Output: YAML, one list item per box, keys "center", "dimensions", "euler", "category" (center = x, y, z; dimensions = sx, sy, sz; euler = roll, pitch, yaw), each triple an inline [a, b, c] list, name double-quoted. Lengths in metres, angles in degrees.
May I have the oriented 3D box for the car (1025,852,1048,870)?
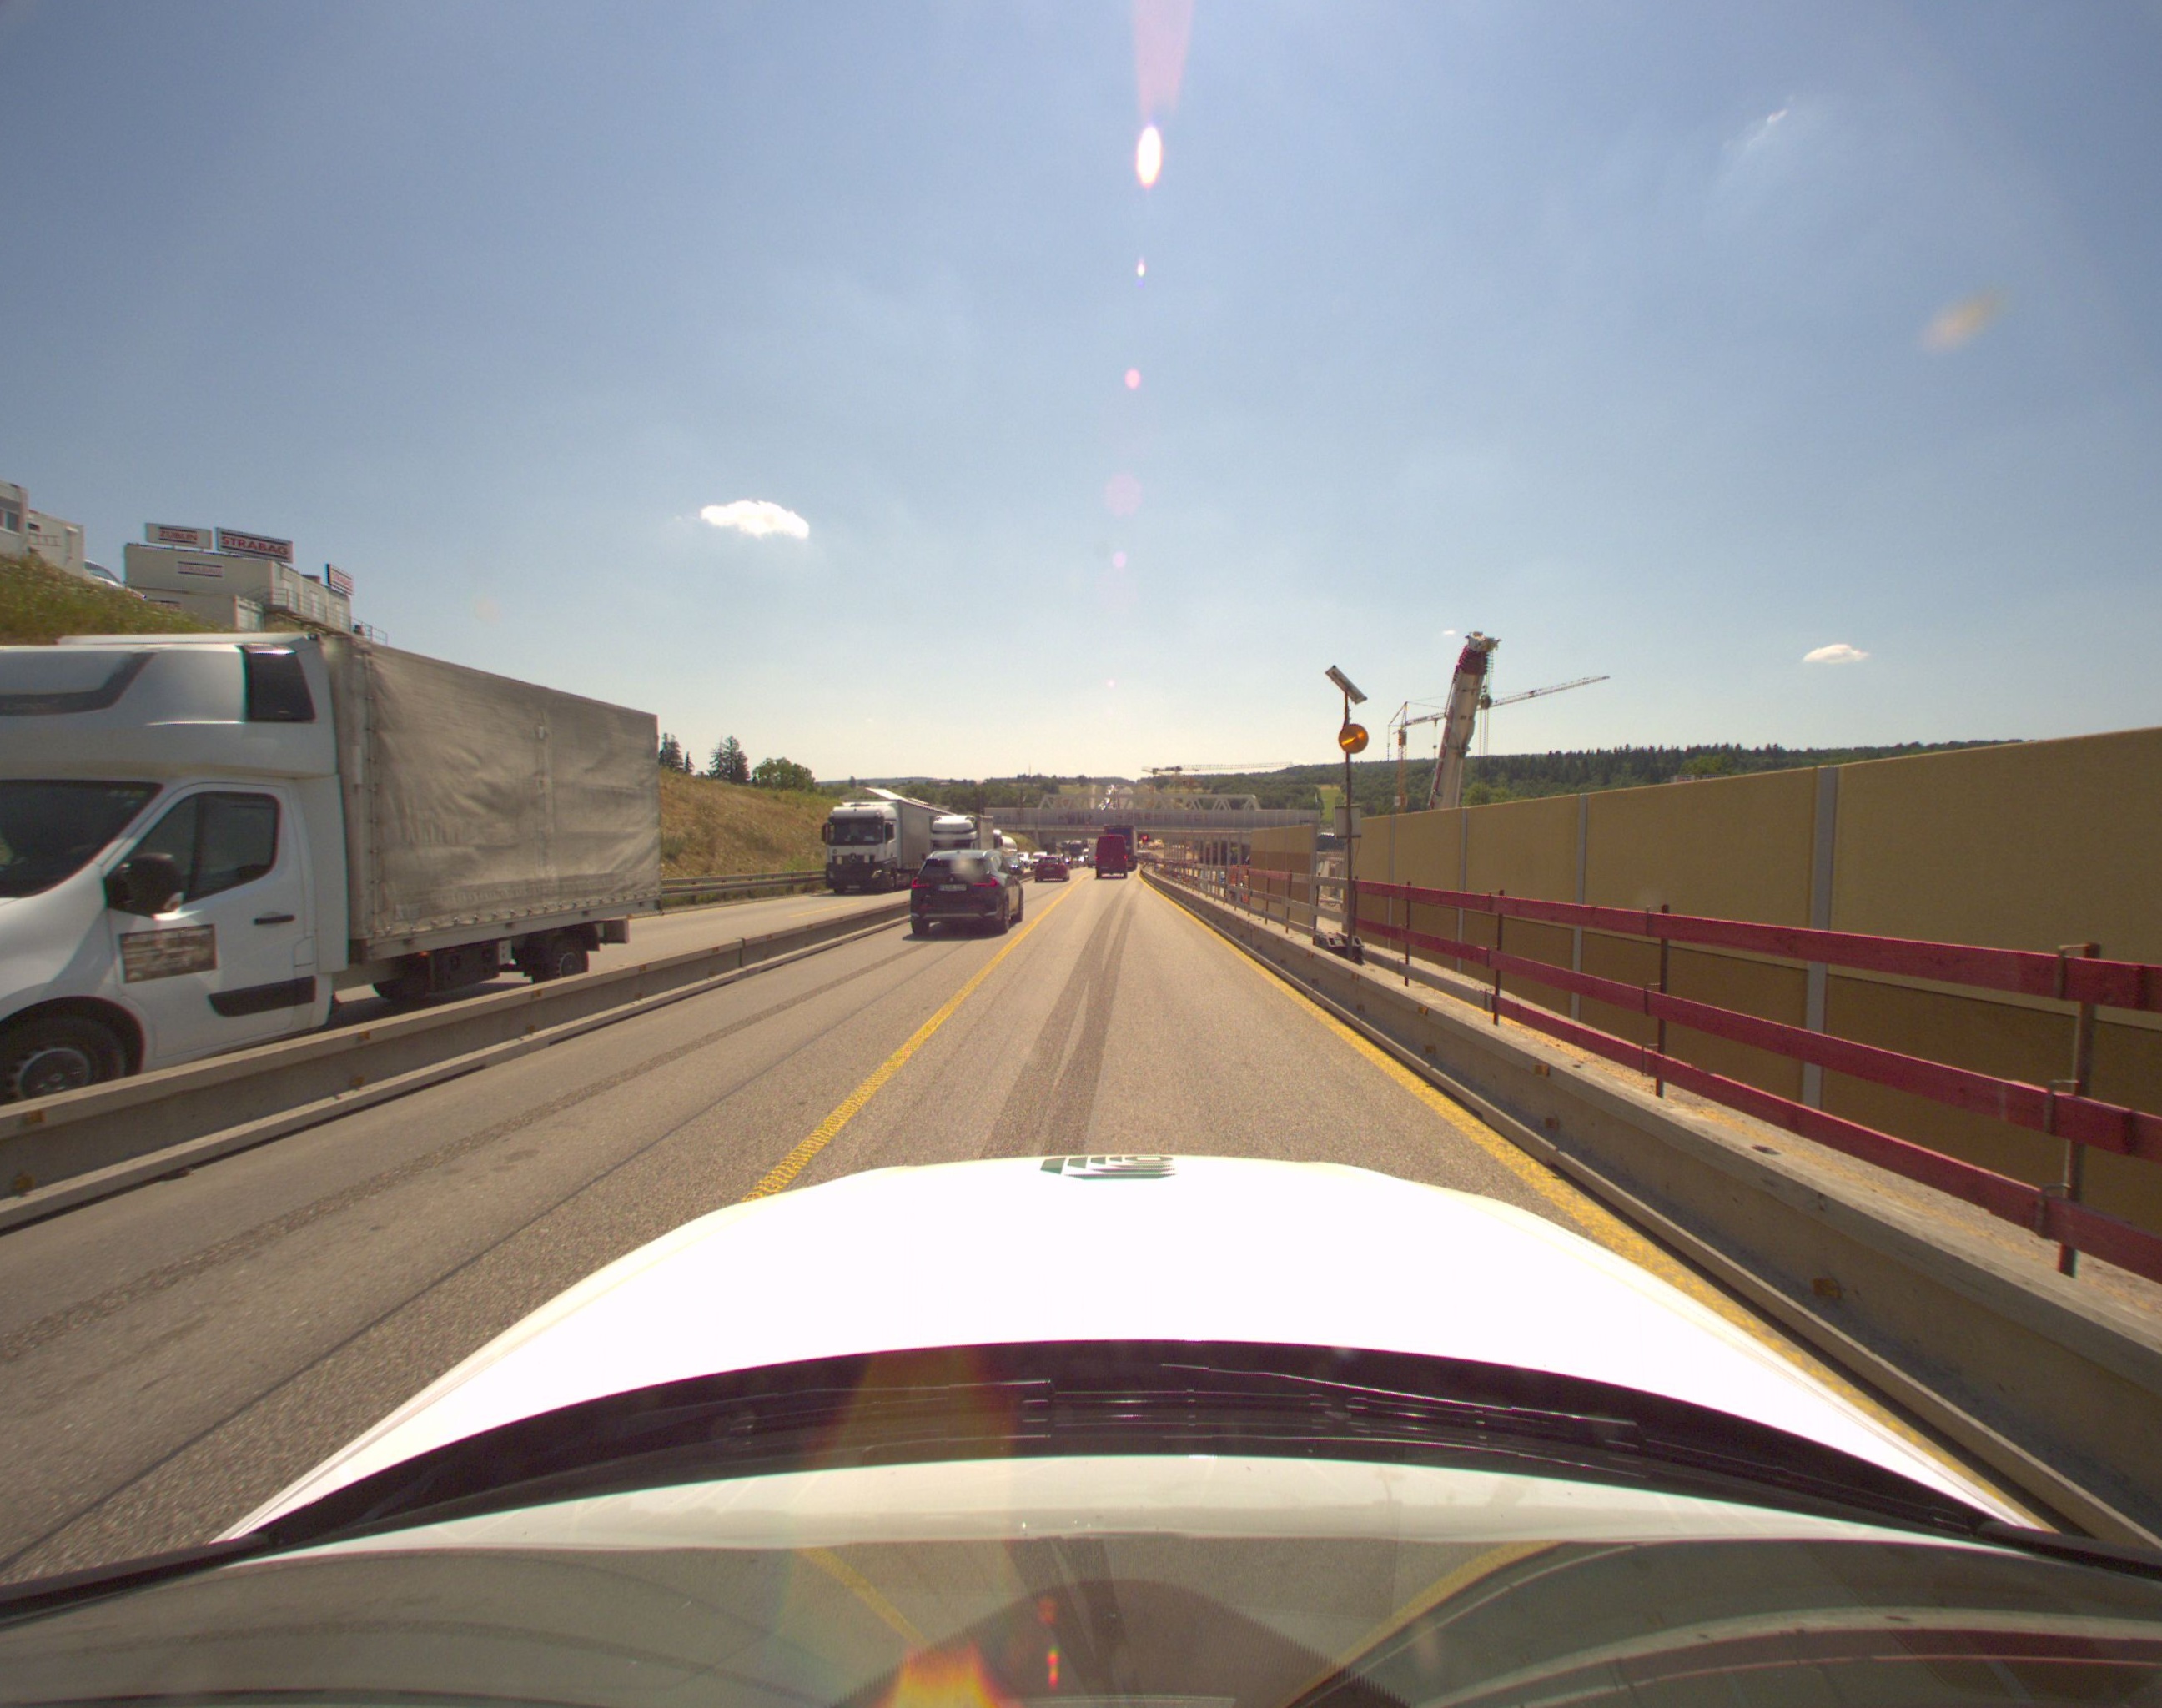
- center: [-4.596, 0.684, 84.284]
  dimensions: [1.872, 1.745, 4.485]
  euler: [-1, 0, 2]
  category: "car"

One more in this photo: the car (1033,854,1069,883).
- center: [-1.639, 0.754, 45.960]
  dimensions: [1.769, 1.517, 4.207]
  euler: [-1, 0, 1]
  category: "car"

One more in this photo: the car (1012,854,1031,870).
- center: [-6.908, 0.961, 94.979]
  dimensions: [1.784, 1.763, 4.538]
  euler: [-1, 0, 1]
  category: "car"

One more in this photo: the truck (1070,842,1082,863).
- center: [-0.993, -0.296, 162.032]
  dimensions: [2.350, 4.015, 4.000]
  euler: [0, 0, 0]
  category: "truck"

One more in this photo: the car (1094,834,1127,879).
- center: [1.873, 0.114, 51.593]
  dimensions: [1.981, 2.690, 4.625]
  euler: [-1, 0, 2]
  category: "car"

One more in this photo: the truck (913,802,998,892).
- center: [-5.627, -0.288, 37.722]
  dimensions: [2.580, 3.758, 7.361]
  euler: [0, 0, 1]
  category: "truck"

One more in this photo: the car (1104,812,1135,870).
- center: [3.518, -1.163, 76.758]
  dimensions: [2.611, 5.032, 10.401]
  euler: [-1, 0, 2]
  category: "car"

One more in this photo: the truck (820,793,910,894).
- center: [-9.041, -0.433, 34.499]
  dimensions: [2.688, 4.050, 3.956]
  euler: [0, 0, 1]
  category: "truck"

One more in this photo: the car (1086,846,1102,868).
- center: [1.476, 0.355, 93.384]
  dimensions: [1.769, 2.441, 4.208]
  euler: [-1, 0, 2]
  category: "car"

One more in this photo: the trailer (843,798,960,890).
- center: [-8.847, -0.462, 42.301]
  dimensions: [2.688, 4.024, 13.706]
  euler: [0, 0, 1]
  category: "trailer"

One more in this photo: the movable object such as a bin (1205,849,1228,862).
- center: [31.144, 0.336, 186.944]
  dimensions: [5.118, 2.807, 2.147]
  euler: [0, 0, 7]
  category: "movable object such as a bin"

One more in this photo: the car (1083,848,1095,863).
- center: [1.520, 0.284, 146.830]
  dimensions: [1.986, 2.607, 7.014]
  euler: [0, 0, 2]
  category: "car"

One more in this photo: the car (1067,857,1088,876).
- center: [-0.277, 1.115, 73.909]
  dimensions: [1.833, 1.654, 4.166]
  euler: [-1, 0, 1]
  category: "car"

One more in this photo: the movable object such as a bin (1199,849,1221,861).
- center: [30.567, 0.266, 193.558]
  dimensions: [5.118, 2.807, 2.147]
  euler: [0, 0, 7]
  category: "movable object such as a bin"

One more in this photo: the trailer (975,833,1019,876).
- center: [-7.843, 0.000, 77.510]
  dimensions: [2.580, 3.801, 11.922]
  euler: [0, 0, 2]
  category: "trailer"

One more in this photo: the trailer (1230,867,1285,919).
- center: [15.342, 3.241, 71.721]
  dimensions: [2.747, 3.886, 13.060]
  euler: [0, 0, 3]
  category: "trailer"

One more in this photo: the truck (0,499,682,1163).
- center: [-6.670, -0.127, 7.332]
  dimensions: [2.529, 3.374, 7.040]
  euler: [0, 0, 1]
  category: "truck"

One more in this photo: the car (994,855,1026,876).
- center: [-5.040, 0.780, 58.540]
  dimensions: [1.773, 1.458, 4.721]
  euler: [0, 0, 1]
  category: "car"

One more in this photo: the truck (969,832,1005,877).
- center: [-8.096, 0.024, 70.765]
  dimensions: [2.580, 3.801, 3.768]
  euler: [0, 0, 2]
  category: "truck"

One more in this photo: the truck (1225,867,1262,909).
- center: [15.794, 3.218, 79.264]
  dimensions: [2.747, 3.886, 5.887]
  euler: [0, 0, 3]
  category: "truck"

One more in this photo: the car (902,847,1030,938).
- center: [-2.234, 0.693, 17.051]
  dimensions: [1.873, 1.618, 4.501]
  euler: [-1, 0, 2]
  category: "car"
